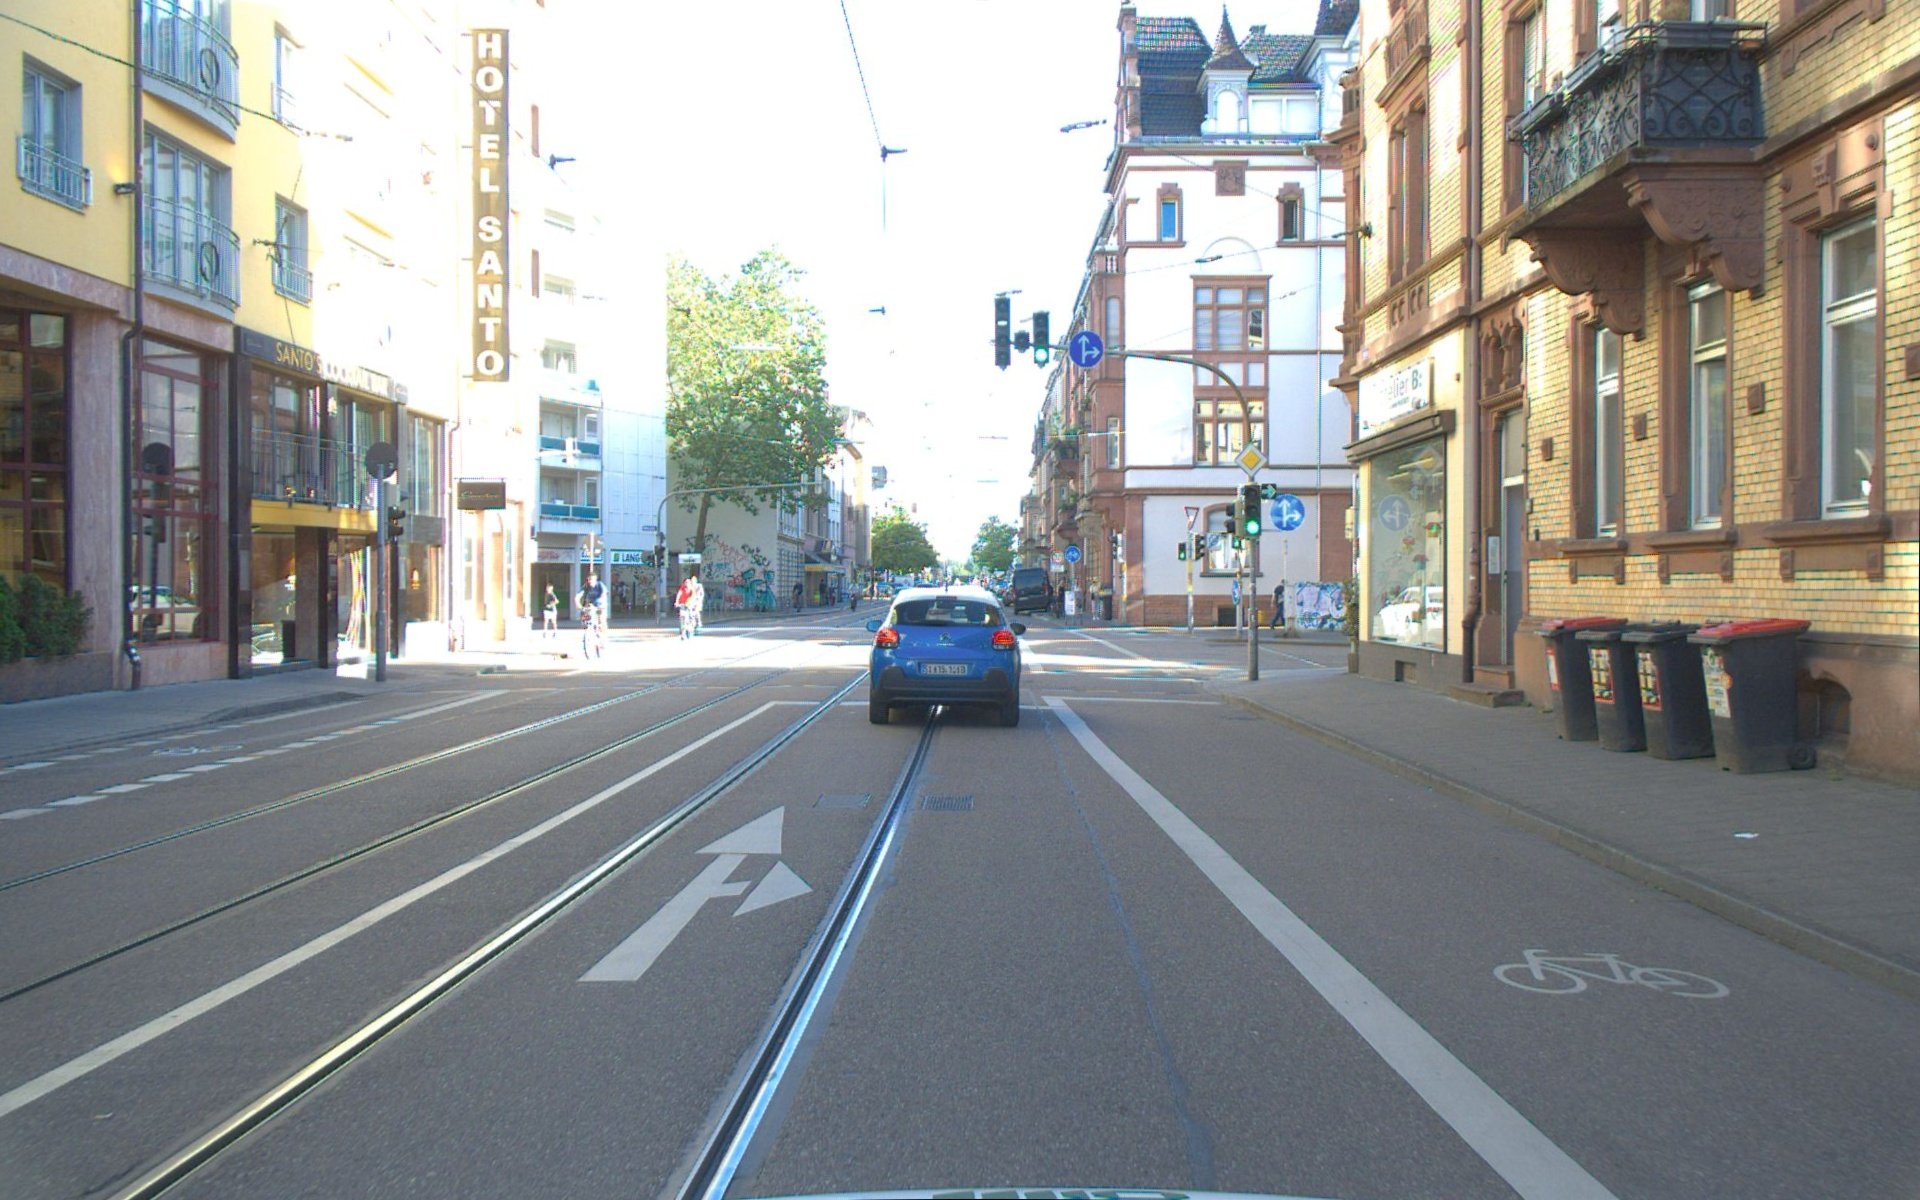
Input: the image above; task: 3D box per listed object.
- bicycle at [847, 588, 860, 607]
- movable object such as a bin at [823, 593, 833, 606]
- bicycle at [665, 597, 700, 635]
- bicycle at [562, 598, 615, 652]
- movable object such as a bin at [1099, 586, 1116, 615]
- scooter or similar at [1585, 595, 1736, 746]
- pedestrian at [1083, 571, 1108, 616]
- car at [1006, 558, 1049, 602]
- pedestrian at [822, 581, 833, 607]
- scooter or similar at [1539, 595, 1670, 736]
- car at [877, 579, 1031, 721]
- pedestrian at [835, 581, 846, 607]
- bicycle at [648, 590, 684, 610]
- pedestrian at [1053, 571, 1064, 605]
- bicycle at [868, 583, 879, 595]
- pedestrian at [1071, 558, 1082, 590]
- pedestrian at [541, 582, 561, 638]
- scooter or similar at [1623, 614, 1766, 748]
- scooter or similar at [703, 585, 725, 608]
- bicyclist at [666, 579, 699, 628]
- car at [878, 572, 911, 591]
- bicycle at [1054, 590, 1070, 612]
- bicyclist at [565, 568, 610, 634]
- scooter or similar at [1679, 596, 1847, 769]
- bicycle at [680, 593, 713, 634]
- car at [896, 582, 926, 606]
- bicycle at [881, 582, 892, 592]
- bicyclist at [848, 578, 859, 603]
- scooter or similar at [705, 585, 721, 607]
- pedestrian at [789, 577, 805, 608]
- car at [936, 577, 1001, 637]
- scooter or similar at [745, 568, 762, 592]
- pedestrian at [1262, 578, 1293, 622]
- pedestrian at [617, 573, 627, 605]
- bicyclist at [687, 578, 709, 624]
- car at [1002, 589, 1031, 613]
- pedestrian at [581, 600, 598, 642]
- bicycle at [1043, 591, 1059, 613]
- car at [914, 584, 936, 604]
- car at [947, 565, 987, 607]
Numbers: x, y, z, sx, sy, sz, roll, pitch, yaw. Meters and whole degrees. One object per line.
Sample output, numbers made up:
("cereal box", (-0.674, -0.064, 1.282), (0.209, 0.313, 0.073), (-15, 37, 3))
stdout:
("bicycle", (-6.562, -0.182, 102.168), (0.678, 1.140, 2.083), (0, 1, -1))
("movable object such as a bin", (-9.212, -0.043, 115.490), (0.598, 0.930, 0.695), (-1, 0, 0))
("bicycle", (-8.074, 0.450, 48.240), (0.716, 1.084, 2.061), (0, 0, -1))
("bicycle", (-8.018, 0.533, 35.747), (0.716, 1.107, 2.061), (0, 1, -1))
("movable object such as a bin", (6.131, 0.013, 68.899), (0.652, 1.174, 0.594), (0, 0, 1))
("scooter or similar", (5.864, 0.576, 13.885), (0.914, 1.168, 0.650), (-4, 0, -2))
("pedestrian", (5.795, -0.274, 70.779), (0.692, 1.811, 0.673), (-9, 0, -1))
("car", (3.831, -1.134, 94.988), (2.225, 2.479, 5.720), (0, 0, 0))
("pedestrian", (-9.205, -0.418, 114.719), (0.696, 1.795, 0.570), (-1, 0, -1))
("scooter or similar", (5.809, 0.577, 14.935), (0.879, 1.168, 0.547), (-5, 0, -2))
("car", (-0.129, 0.507, 19.629), (1.640, 1.503, 3.999), (0, 1, -2))
("pedestrian", (-8.308, -0.407, 114.820), (0.696, 1.795, 0.655), (-1, 0, 0))
("bicycle", (-15.510, 0.003, 87.290), (1.878, 1.052, 0.664), (0, 1, 27))
("pedestrian", (5.955, -0.724, 99.985), (0.573, 2.049, 0.823), (0, 0, -1))
("bicycle", (-9.739, -1.253, 186.672), (1.099, 1.342, 3.640), (-1, 1, -5))
("pedestrian", (6.633, -1.453, 94.152), (0.542, 1.813, 0.606), (0, 0, -1))
("pedestrian", (-10.591, 0.253, 42.814), (0.395, 1.435, 0.516), (0, 0, -1))
("scooter or similar", (5.851, 0.634, 13.212), (0.774, 0.974, 0.680), (-4, 1, -2))
("scooter or similar", (-13.911, -0.205, 93.395), (1.206, 1.280, 0.765), (0, 0, -12))
("bicyclist", (-8.081, 0.084, 48.234), (0.720, 1.405, 1.468), (0, 0, -1))
("car", (-9.315, -2.680, 235.296), (4.254, 2.626, 2.192), (0, 1, -26))
("bicycle", (4.612, 0.046, 74.673), (0.423, 0.964, 1.761), (0, 1, -7))
("bicyclist", (-8.024, 0.013, 35.701), (0.709, 1.405, 1.227), (0, 0, -1))
("scooter or similar", (5.913, 0.589, 12.216), (0.774, 1.168, 0.790), (-4, 1, -1))
("bicycle", (-8.127, 0.402, 51.106), (0.716, 1.204, 2.061), (0, 0, -1))
("car", (-3.297, -0.407, 111.367), (1.945, 1.528, 4.308), (0, 1, -1))
("bicycle", (-8.351, -1.455, 186.924), (1.099, 1.166, 3.640), (-1, 1, -5))
("bicyclist", (-6.578, -0.597, 102.154), (0.668, 1.509, 0.778), (0, 0, -1))
("scooter or similar", (-14.228, -0.211, 95.240), (0.921, 1.243, 0.765), (0, 0, -12))
("pedestrian", (-9.556, -0.435, 97.192), (0.668, 1.796, 1.026), (0, 0, 11))
("car", (0.178, 0.165, 43.959), (1.633, 1.504, 3.999), (-1, 1, -1))
("scooter or similar", (-11.830, -1.155, 94.833), (0.772, 1.294, 1.075), (2, 2, -1))
("pedestrian", (10.982, -0.002, 57.167), (0.919, 1.482, 0.823), (0, 0, 22))
("pedestrian", (-19.053, -0.618, 93.178), (0.446, 1.748, 0.547), (-1, 0, -1))
("bicyclist", (-8.072, 0.019, 50.999), (0.578, 1.400, 0.679), (0, 0, -1))
("car", (4.172, 0.059, 122.470), (1.964, 1.701, 4.806), (-1, 1, 0))
("pedestrian", (-13.953, 0.777, 62.329), (0.531, 1.579, 0.516), (0, 0, -1))
("bicycle", (4.107, 0.076, 74.633), (0.423, 0.964, 1.761), (0, 1, -7))
("car", (-3.155, -0.547, 150.742), (1.953, 1.774, 4.562), (0, 1, -1))
("car", (0.351, -0.722, 84.544), (1.953, 2.049, 3.999), (-1, 1, -1))
